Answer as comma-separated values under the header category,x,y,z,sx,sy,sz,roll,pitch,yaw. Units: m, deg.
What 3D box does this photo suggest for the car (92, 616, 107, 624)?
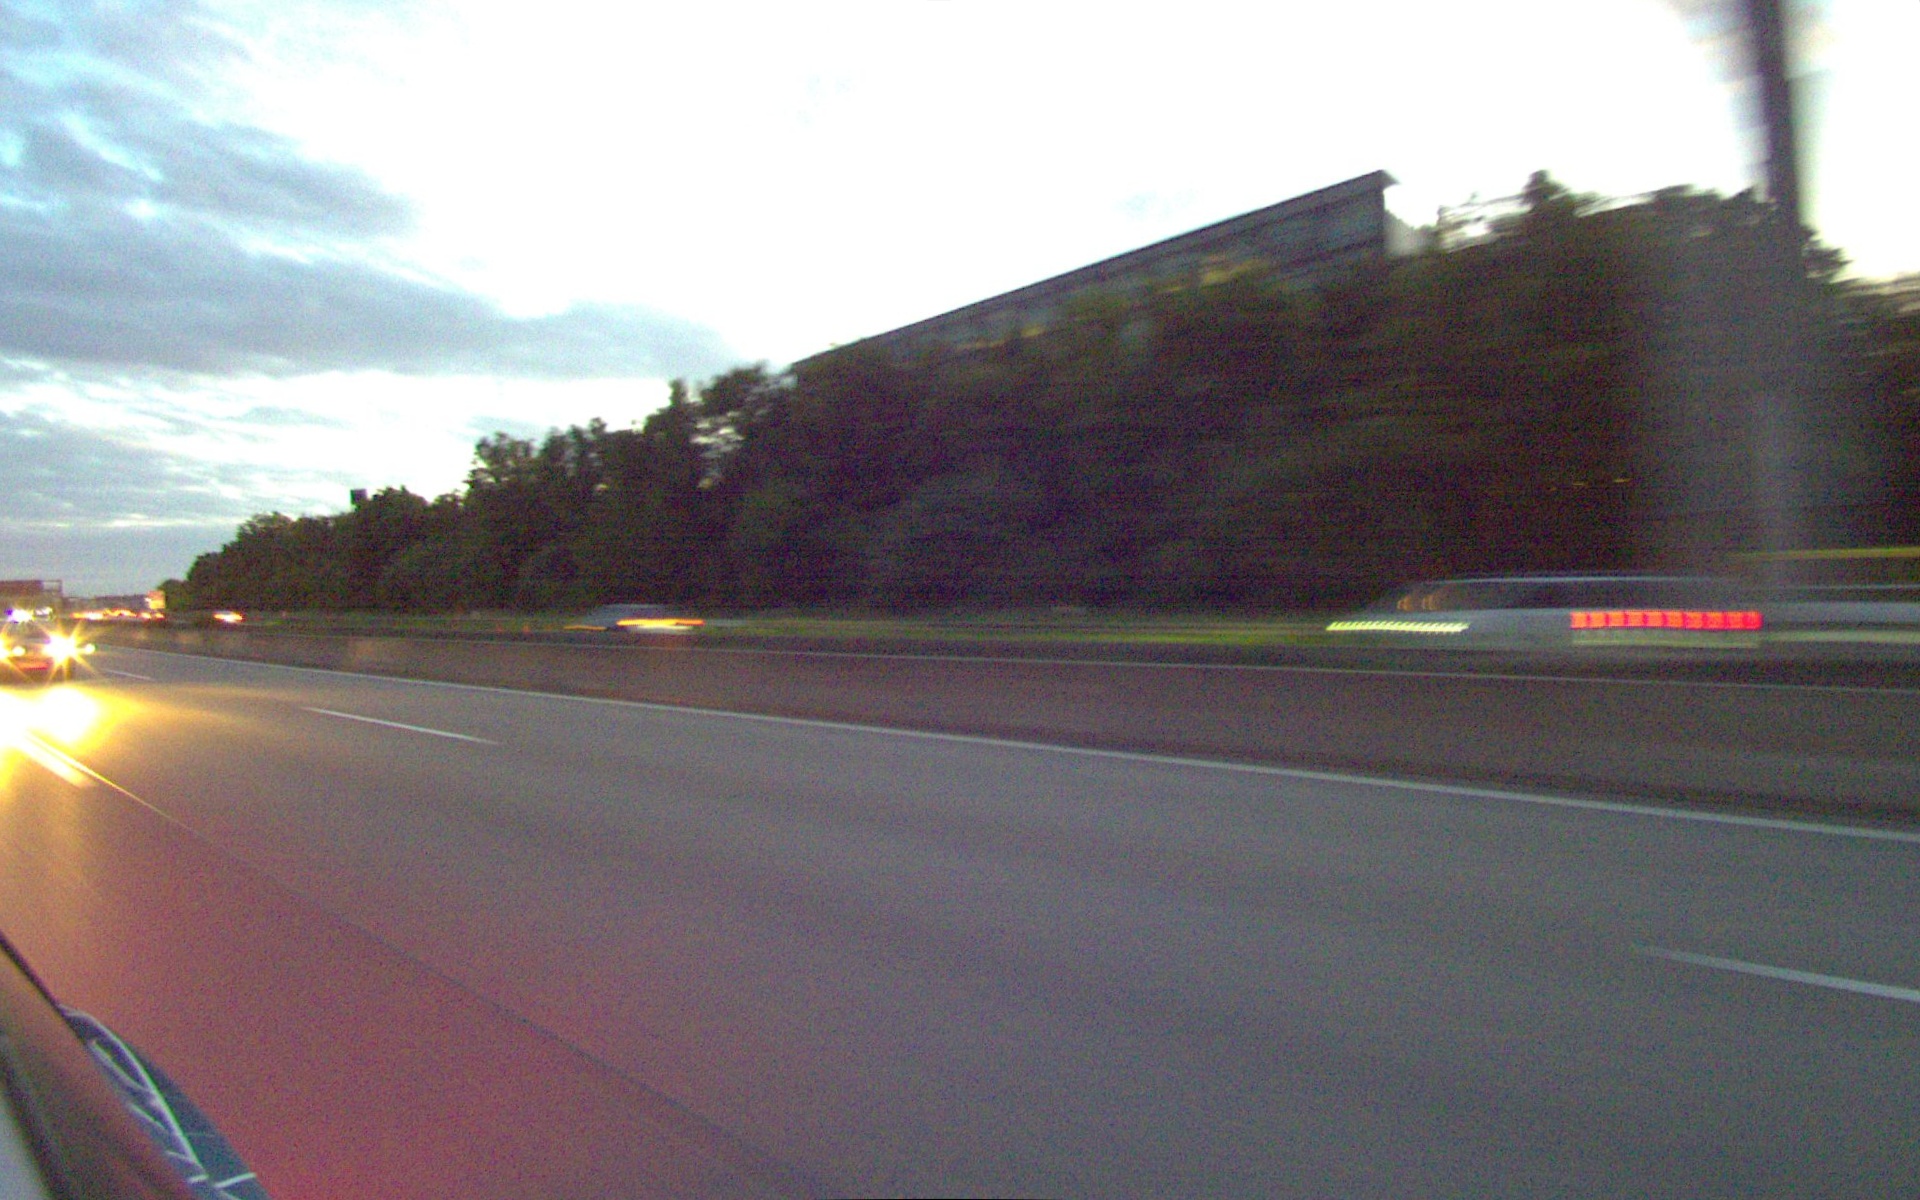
category,x,y,z,sx,sy,sz,roll,pitch,yaw
car,-170.580,3.909,200.550,3.837,1.464,1.971,-1,1,45

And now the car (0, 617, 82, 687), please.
category,x,y,z,sx,sy,sz,roll,pitch,yaw
car,-22.367,1.190,24.113,3.999,1.491,1.695,-1,1,42

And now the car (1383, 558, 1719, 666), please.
category,x,y,z,sx,sy,sz,roll,pitch,yaw
car,11.616,0.214,20.210,5.522,1.881,1.893,-1,0,42

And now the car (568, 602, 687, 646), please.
category,x,y,z,sx,sy,sz,roll,pitch,yaw
car,-11.516,0.801,34.841,4.896,1.364,1.672,-1,1,42

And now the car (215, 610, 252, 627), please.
category,x,y,z,sx,sy,sz,roll,pitch,yaw
car,-70.096,1.765,97.669,5.007,1.545,1.972,-1,1,43

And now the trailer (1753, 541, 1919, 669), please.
category,x,y,z,sx,sy,sz,roll,pitch,yaw
trailer,15.795,0.047,16.613,4.239,2.017,1.893,-2,1,42

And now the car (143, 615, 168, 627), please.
category,x,y,z,sx,sy,sz,roll,pitch,yaw
car,-106.208,2.806,133.540,4.507,1.516,1.971,-1,1,44

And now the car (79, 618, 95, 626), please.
category,x,y,z,sx,sy,sz,roll,pitch,yaw
car,-156.711,3.988,181.627,1.813,1.346,4.913,-1,1,-44
